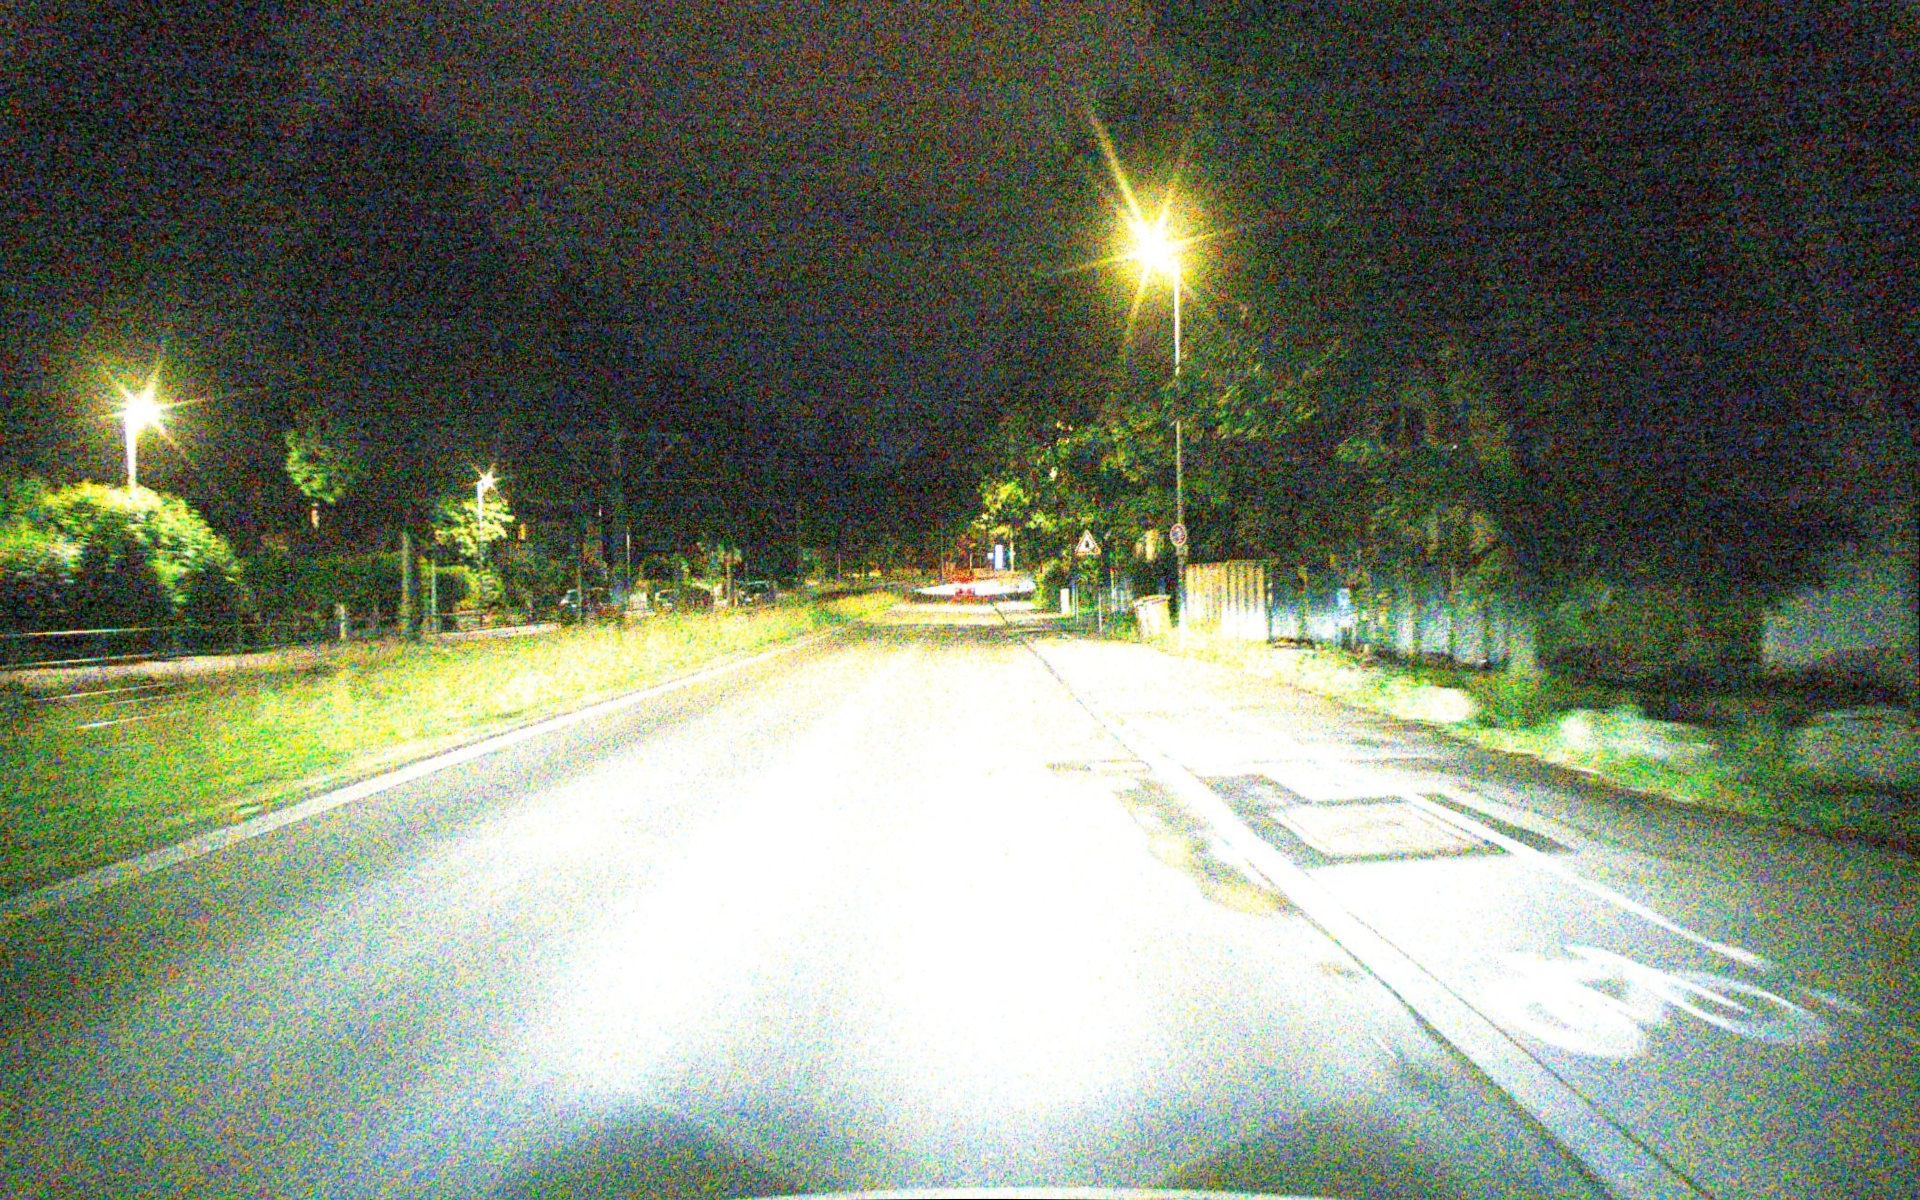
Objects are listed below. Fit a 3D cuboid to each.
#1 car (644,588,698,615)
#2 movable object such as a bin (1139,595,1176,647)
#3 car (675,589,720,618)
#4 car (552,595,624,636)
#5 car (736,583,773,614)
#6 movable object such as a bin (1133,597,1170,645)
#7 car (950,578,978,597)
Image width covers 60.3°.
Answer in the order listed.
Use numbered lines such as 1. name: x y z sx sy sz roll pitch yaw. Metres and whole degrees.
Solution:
1. car: -15.480 0.083 88.787 1.953 1.361 5.431 -1 0 -1
2. movable object such as a bin: 4.702 0.499 39.372 0.816 1.202 0.829 -1 0 2
3. car: -15.005 0.169 94.733 1.953 1.556 4.000 -1 1 -1
4. car: -15.490 0.618 69.098 1.953 1.656 4.676 -1 0 -1
5. car: -14.808 -0.117 119.502 2.049 2.048 4.000 -5 1 -1
6. movable object such as a bin: 4.660 0.509 40.247 0.839 1.139 0.840 -1 0 2
7. car: 0.363 -1.119 144.591 2.119 1.610 4.009 0 0 -5
